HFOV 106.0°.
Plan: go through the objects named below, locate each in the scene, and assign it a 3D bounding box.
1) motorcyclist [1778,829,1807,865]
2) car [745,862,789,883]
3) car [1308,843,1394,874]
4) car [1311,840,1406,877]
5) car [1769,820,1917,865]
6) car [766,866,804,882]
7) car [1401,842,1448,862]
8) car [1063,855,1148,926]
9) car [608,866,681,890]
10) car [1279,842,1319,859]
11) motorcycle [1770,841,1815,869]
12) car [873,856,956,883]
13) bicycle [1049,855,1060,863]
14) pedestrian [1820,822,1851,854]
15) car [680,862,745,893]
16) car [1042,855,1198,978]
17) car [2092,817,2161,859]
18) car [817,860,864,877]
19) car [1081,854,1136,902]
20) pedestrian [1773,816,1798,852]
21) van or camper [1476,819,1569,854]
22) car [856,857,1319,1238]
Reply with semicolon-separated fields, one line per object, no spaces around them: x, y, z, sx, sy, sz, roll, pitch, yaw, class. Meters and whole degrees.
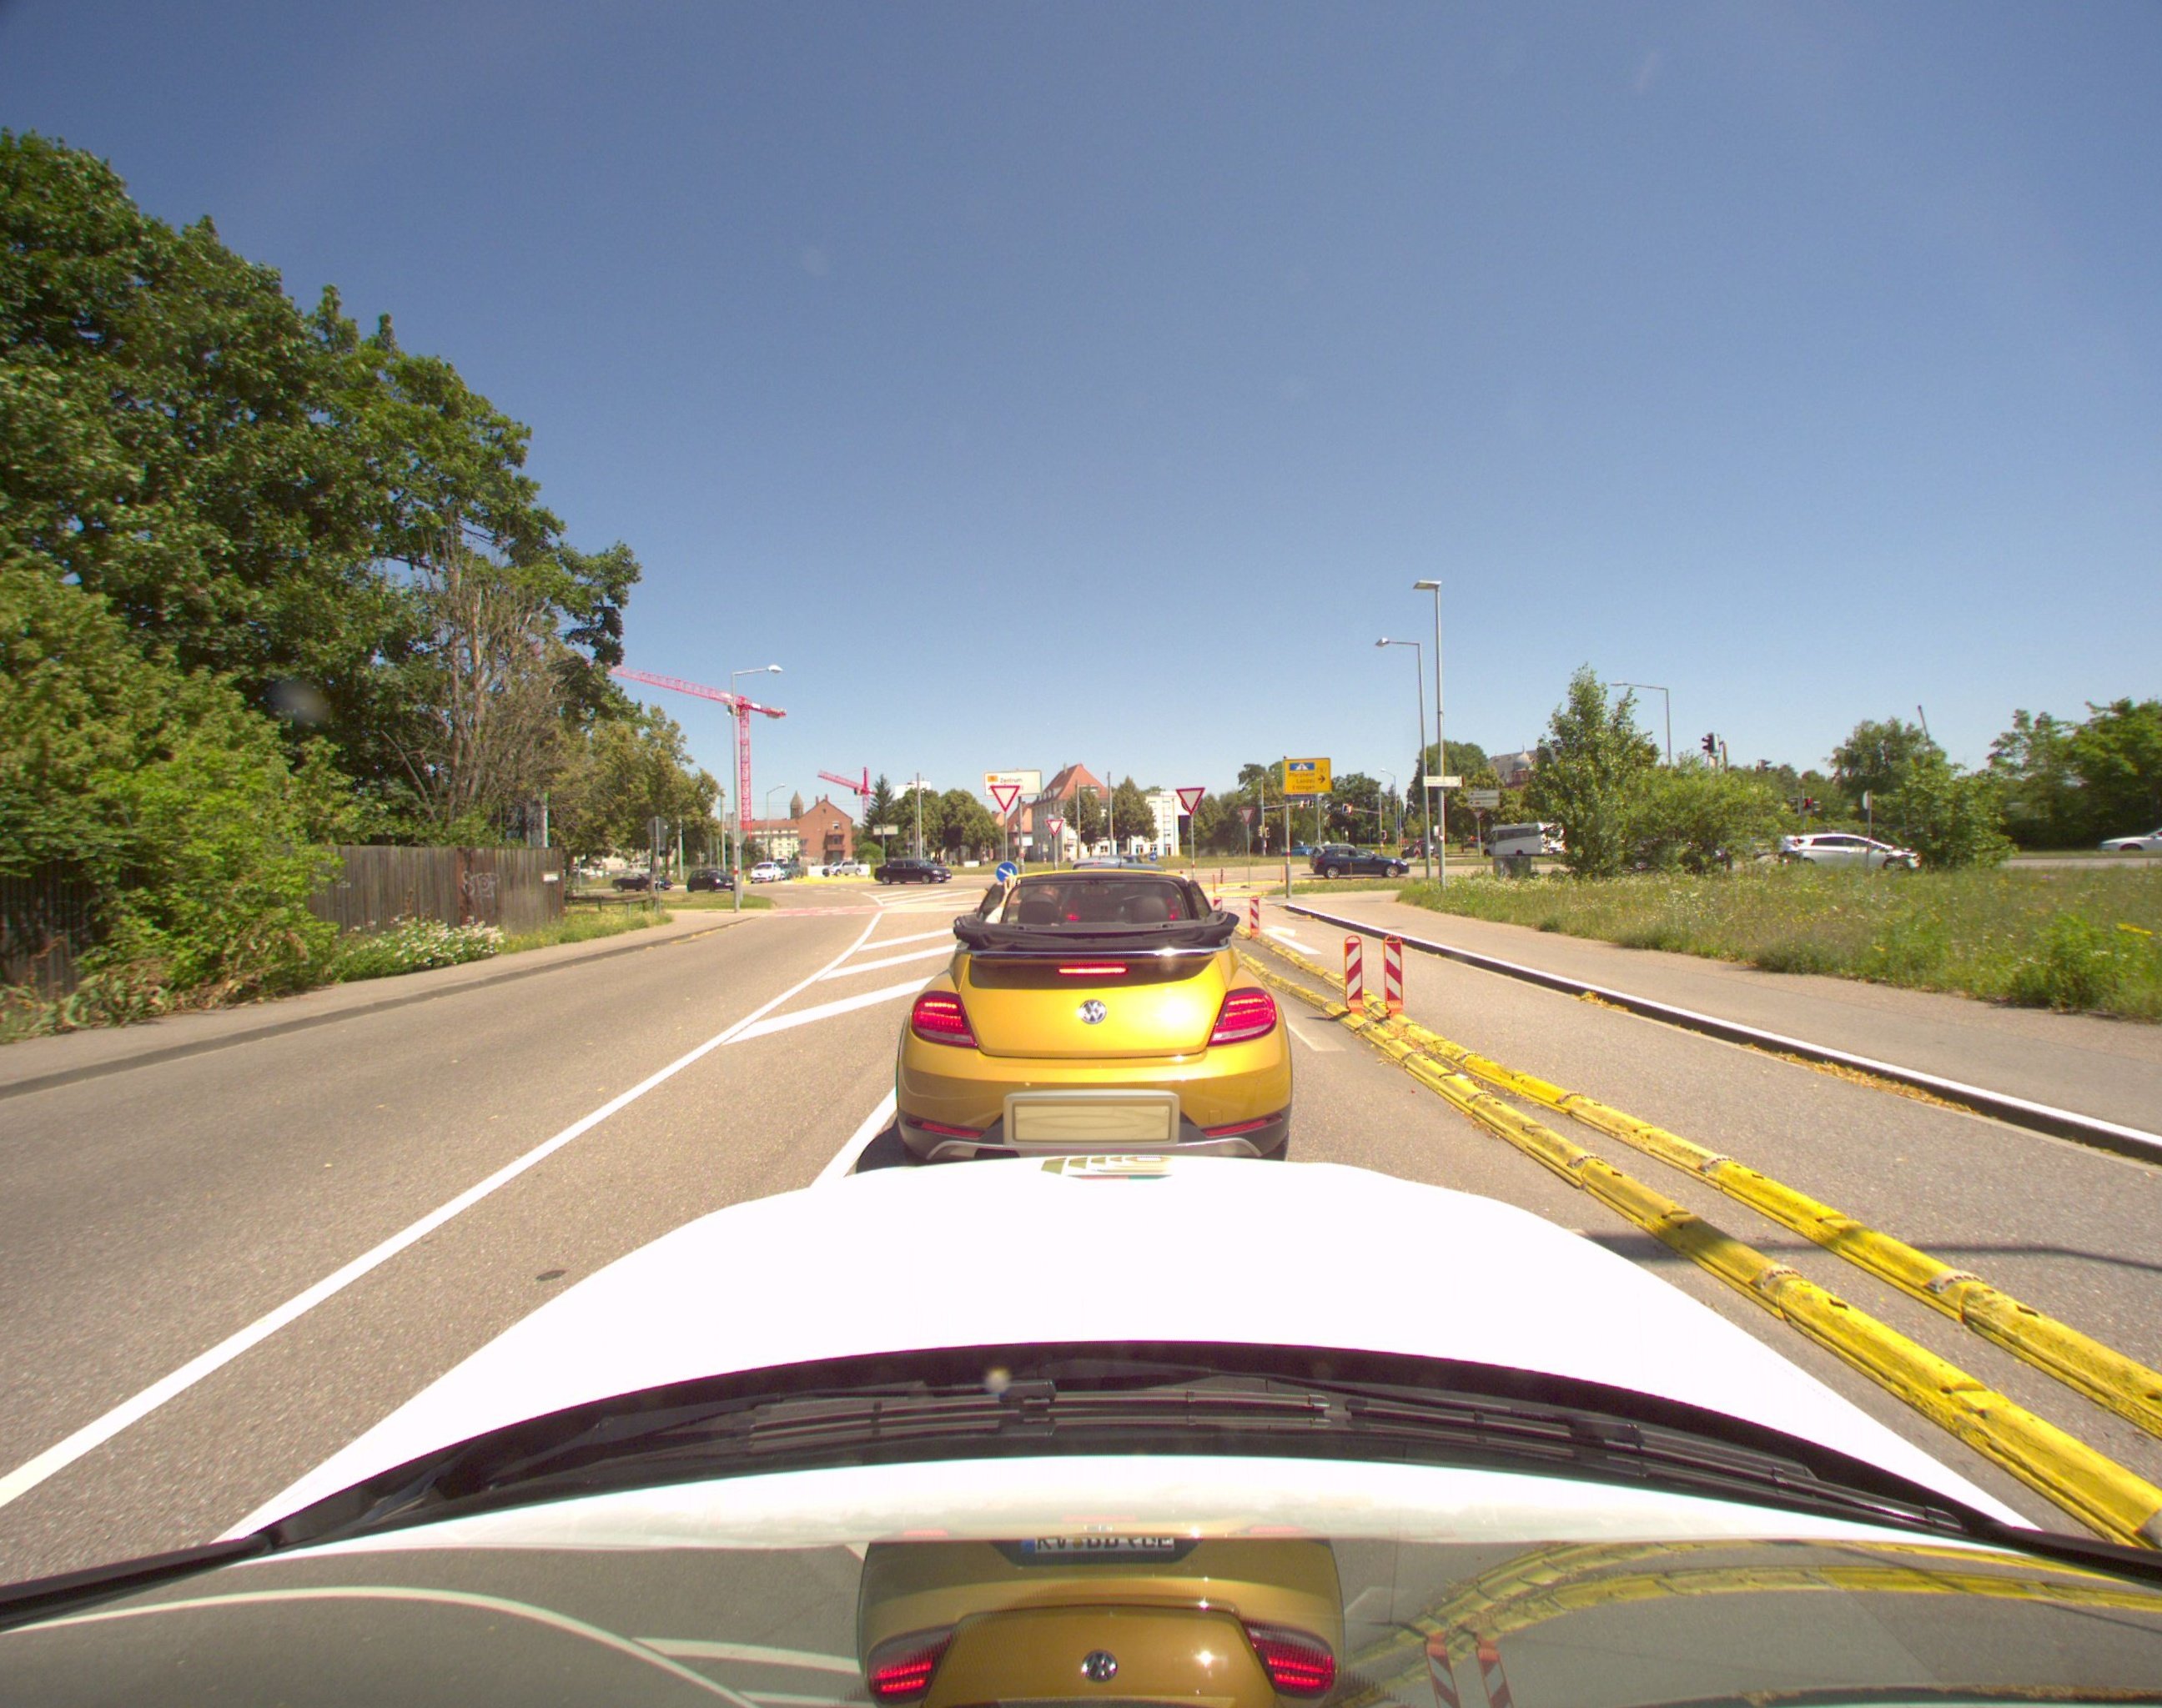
25.818;-0.248;29.563;0.616;1.289;0.576;-1;-1;-27;motorcyclist
-24.558;1.426;63.794;1.749;1.549;4.002;-1;0;2;car
13.939;0.246;42.252;3.965;1.496;1.805;-1;0;8;car
12.835;0.228;37.866;3.974;1.620;1.742;-1;0;10;car
29.599;-0.428;31.817;3.960;1.620;1.691;-1;0;33;car
-25.153;1.662;69.311;1.700;1.236;3.788;-1;0;2;car
28.480;-0.167;67.540;1.658;1.606;3.192;-1;0;-37;car
0.576;0.753;18.814;1.730;1.442;4.002;-1;0;2;car
-31.561;1.759;58.871;4.894;1.656;2.011;-1;0;22;car
24.505;-0.381;91.577;2.009;1.838;3.955;-1;0;-38;car
25.798;0.040;29.517;1.712;0.970;0.625;-1;0;-28;motorcycle
-9.624;0.897;47.042;4.476;1.447;1.834;-1;0;26;car
-3.854;0.748;117.775;1.464;1.071;0.497;-1;0;-7;bicycle
37.875;-0.784;40.909;0.789;1.563;0.823;-1;0;4;pedestrian
-22.645;1.429;50.022;3.948;1.816;2.013;-1;0;37;car
0.535;0.761;11.797;1.841;1.442;4.002;-1;0;2;car
52.677;-0.778;39.747;3.950;2.014;2.012;-1;0;45;car
-23.274;1.393;79.081;1.690;1.500;4.247;-1;0;34;car
0.934;0.761;27.614;1.730;1.477;4.002;-1;0;2;car
36.564;-1.034;42.277;0.647;1.870;0.737;-1;-1;3;pedestrian
36.886;-1.431;68.378;2.509;2.693;7.476;-1;0;-14;van or camper
0.075;0.749;5.000;1.746;1.422;3.778;-1;0;1;car
